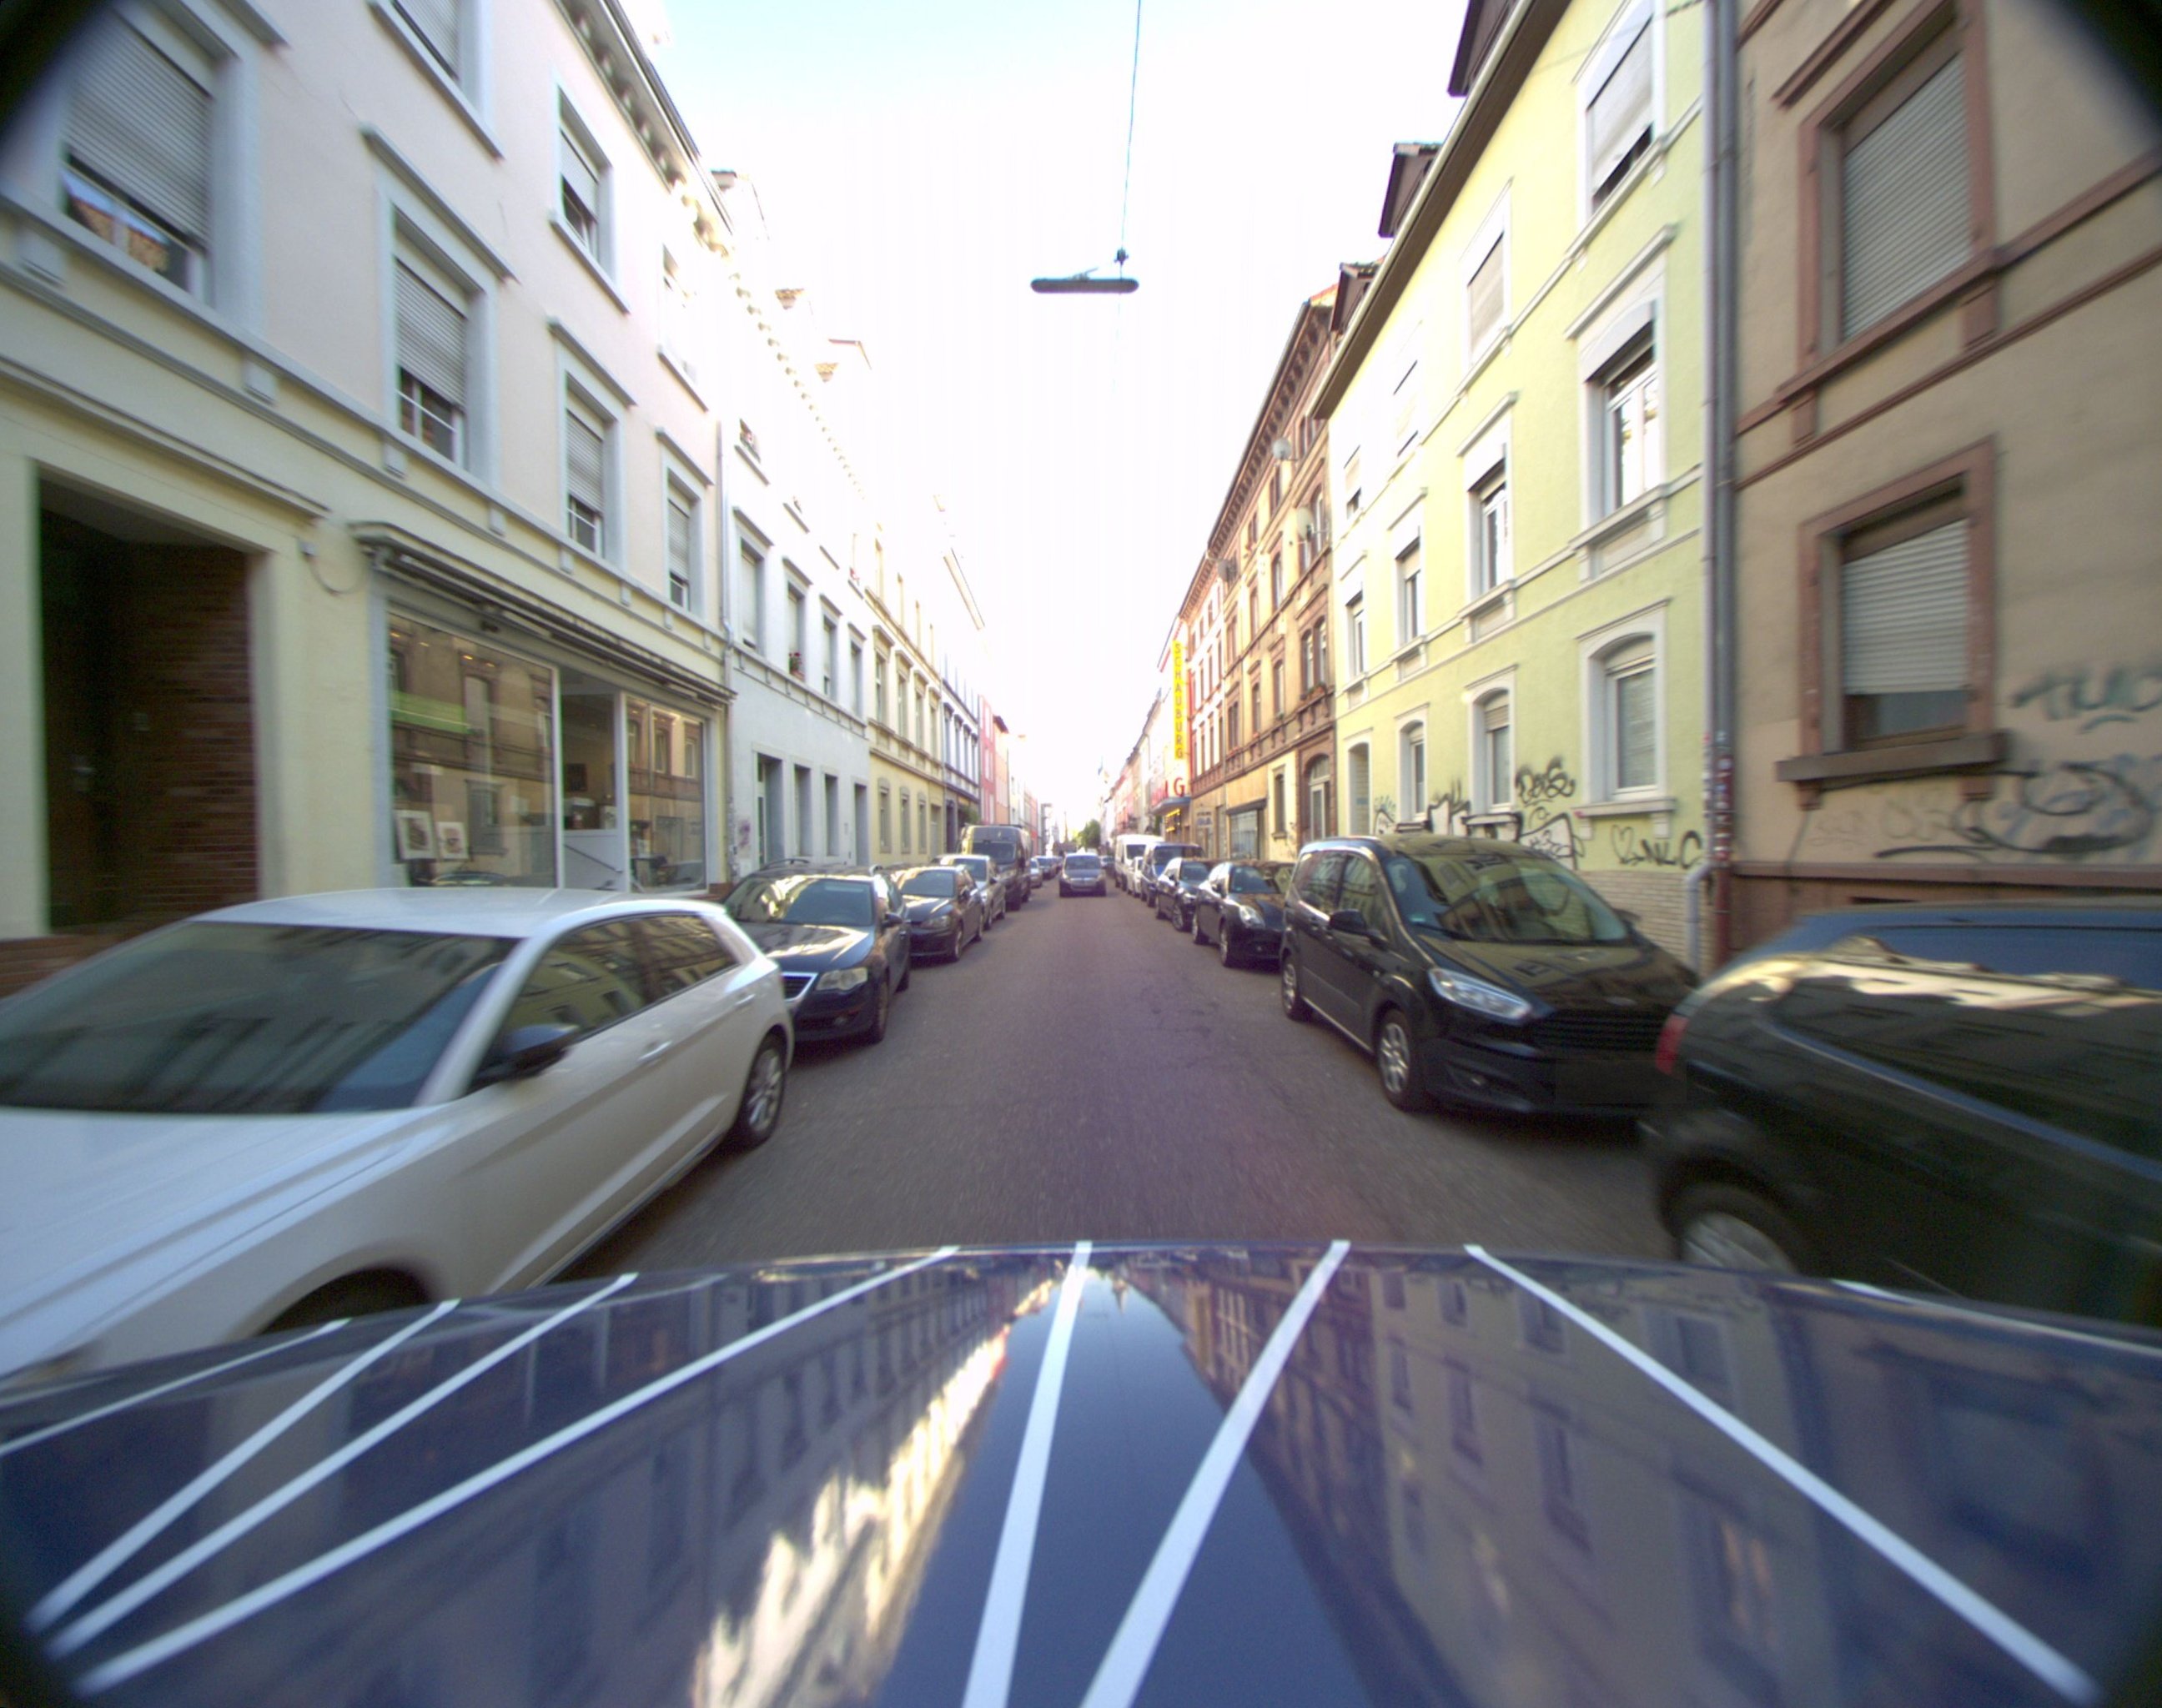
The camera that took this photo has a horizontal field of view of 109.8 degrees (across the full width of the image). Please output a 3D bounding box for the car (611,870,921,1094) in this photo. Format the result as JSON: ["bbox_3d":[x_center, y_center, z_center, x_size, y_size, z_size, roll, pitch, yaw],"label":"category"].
[{"bbox_3d":[-2.672,0.962,7.641,1.817,1.469,4.604,2,-1,-9],"label":"car"}]

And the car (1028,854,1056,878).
[{"bbox_3d":[-2.569,0.776,51.084,1.606,1.530,3.450,1,0,1],"label":"car"}]

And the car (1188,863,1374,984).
[{"bbox_3d":[2.750,0.881,11.366,1.741,1.418,4.000,-1,0,0],"label":"car"}]

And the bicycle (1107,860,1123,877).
[{"bbox_3d":[2.156,0.895,48.779,0.462,1.041,1.748,-3,0,-16],"label":"bicycle"}]

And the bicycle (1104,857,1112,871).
[{"bbox_3d":[2.143,0.820,60.925,0.500,1.099,1.829,-2,0,0],"label":"bicycle"}]

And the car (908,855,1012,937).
[{"bbox_3d":[-2.643,0.855,17.585,1.698,1.598,4.374,1,0,0],"label":"car"}]

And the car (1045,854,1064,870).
[{"bbox_3d":[-2.444,0.715,70.902,1.692,1.444,4.193,0,0,-1],"label":"car"}]

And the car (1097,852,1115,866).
[{"bbox_3d":[2.701,0.551,82.297,1.792,1.454,4.199,0,0,-1],"label":"car"}]

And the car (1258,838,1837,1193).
[{"bbox_3d":[2.725,0.774,5.679,1.805,1.688,3.999,1,0,0],"label":"car"}]

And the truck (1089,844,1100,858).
[{"bbox_3d":[3.185,-0.714,183.314,2.524,3.271,6.642,-1,0,1],"label":"truck"}]

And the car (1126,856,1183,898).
[{"bbox_3d":[2.668,0.806,28.294,1.650,1.438,3.839,-1,0,-2],"label":"car"}]

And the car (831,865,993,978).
[{"bbox_3d":[-2.590,0.967,12.688,1.750,1.477,4.242,-1,0,0],"label":"car"}]

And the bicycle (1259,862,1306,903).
[{"bbox_3d":[5.654,0.786,21.477,0.757,1.015,2.029,-5,0,1],"label":"bicycle"}]

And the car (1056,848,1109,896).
[{"bbox_3d":[0.058,0.631,28.927,1.832,1.650,4.213,-1,0,0],"label":"car"}]

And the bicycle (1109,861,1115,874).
[{"bbox_3d":[2.280,0.964,55.941,0.391,0.911,1.393,-1,0,1],"label":"bicycle"}]

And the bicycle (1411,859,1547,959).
[{"bbox_3d":[5.692,0.722,11.066,0.669,1.238,2.327,-4,0,0],"label":"bicycle"}]

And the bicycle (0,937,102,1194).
[{"bbox_3d":[-5.393,1.019,2.750,0.629,1.152,2.352,2,0,0],"label":"bicycle"}]

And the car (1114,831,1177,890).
[{"bbox_3d":[2.776,0.261,34.193,2.174,2.438,5.920,0,0,-1],"label":"car"}]

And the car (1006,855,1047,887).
[{"bbox_3d":[-2.739,0.840,39.077,1.791,1.446,4.546,2,0,-1],"label":"car"}]

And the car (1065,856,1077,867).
[{"bbox_3d":[-1.439,1.149,110.980,1.644,1.528,3.842,-1,0,0],"label":"car"}]

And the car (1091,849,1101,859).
[{"bbox_3d":[3.128,-0.001,154.675,1.998,2.002,4.258,-1,0,1],"label":"car"}]

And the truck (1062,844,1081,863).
[{"bbox_3d":[-1.551,-0.121,121.119,2.819,2.735,7.677,-3,0,0],"label":"truck"}]

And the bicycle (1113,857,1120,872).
[{"bbox_3d":[2.839,0.842,60.927,0.444,1.099,1.931,-2,0,0],"label":"bicycle"}]

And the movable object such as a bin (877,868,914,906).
[{"bbox_3d":[-5.293,0.936,21.769,0.865,1.036,0.708,2,0,-2],"label":"movable object such as a bin"}]

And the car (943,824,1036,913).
[{"bbox_3d":[-2.673,0.379,23.896,2.181,2.411,6.308,0,0,0],"label":"car"}]

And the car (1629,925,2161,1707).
[{"bbox_3d":[2.580,0.963,0.677,1.596,1.432,3.653,0,0,1],"label":"car"}]

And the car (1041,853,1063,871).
[{"bbox_3d":[-2.534,0.665,66.325,1.701,1.514,3.980,0,0,1],"label":"car"}]

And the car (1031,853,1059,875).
[{"bbox_3d":[-2.593,0.720,55.868,1.750,1.547,4.171,-1,0,1],"label":"car"}]

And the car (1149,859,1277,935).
[{"bbox_3d":[2.734,0.829,16.821,1.867,1.431,4.644,-1,0,-2],"label":"car"}]

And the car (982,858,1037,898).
[{"bbox_3d":[-2.817,0.924,30.622,1.752,1.436,4.171,-1,0,0],"label":"car"}]

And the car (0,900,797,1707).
[{"bbox_3d":[-2.536,1.001,2.615,1.729,1.421,3.831,-1,0,-1],"label":"car"}]

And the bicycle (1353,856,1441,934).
[{"bbox_3d":[5.563,0.673,13.506,0.675,1.264,2.086,-1,0,0],"label":"bicycle"}]

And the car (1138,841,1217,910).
[{"bbox_3d":[2.854,0.583,23.419,1.832,1.881,4.613,2,0,0],"label":"car"}]
